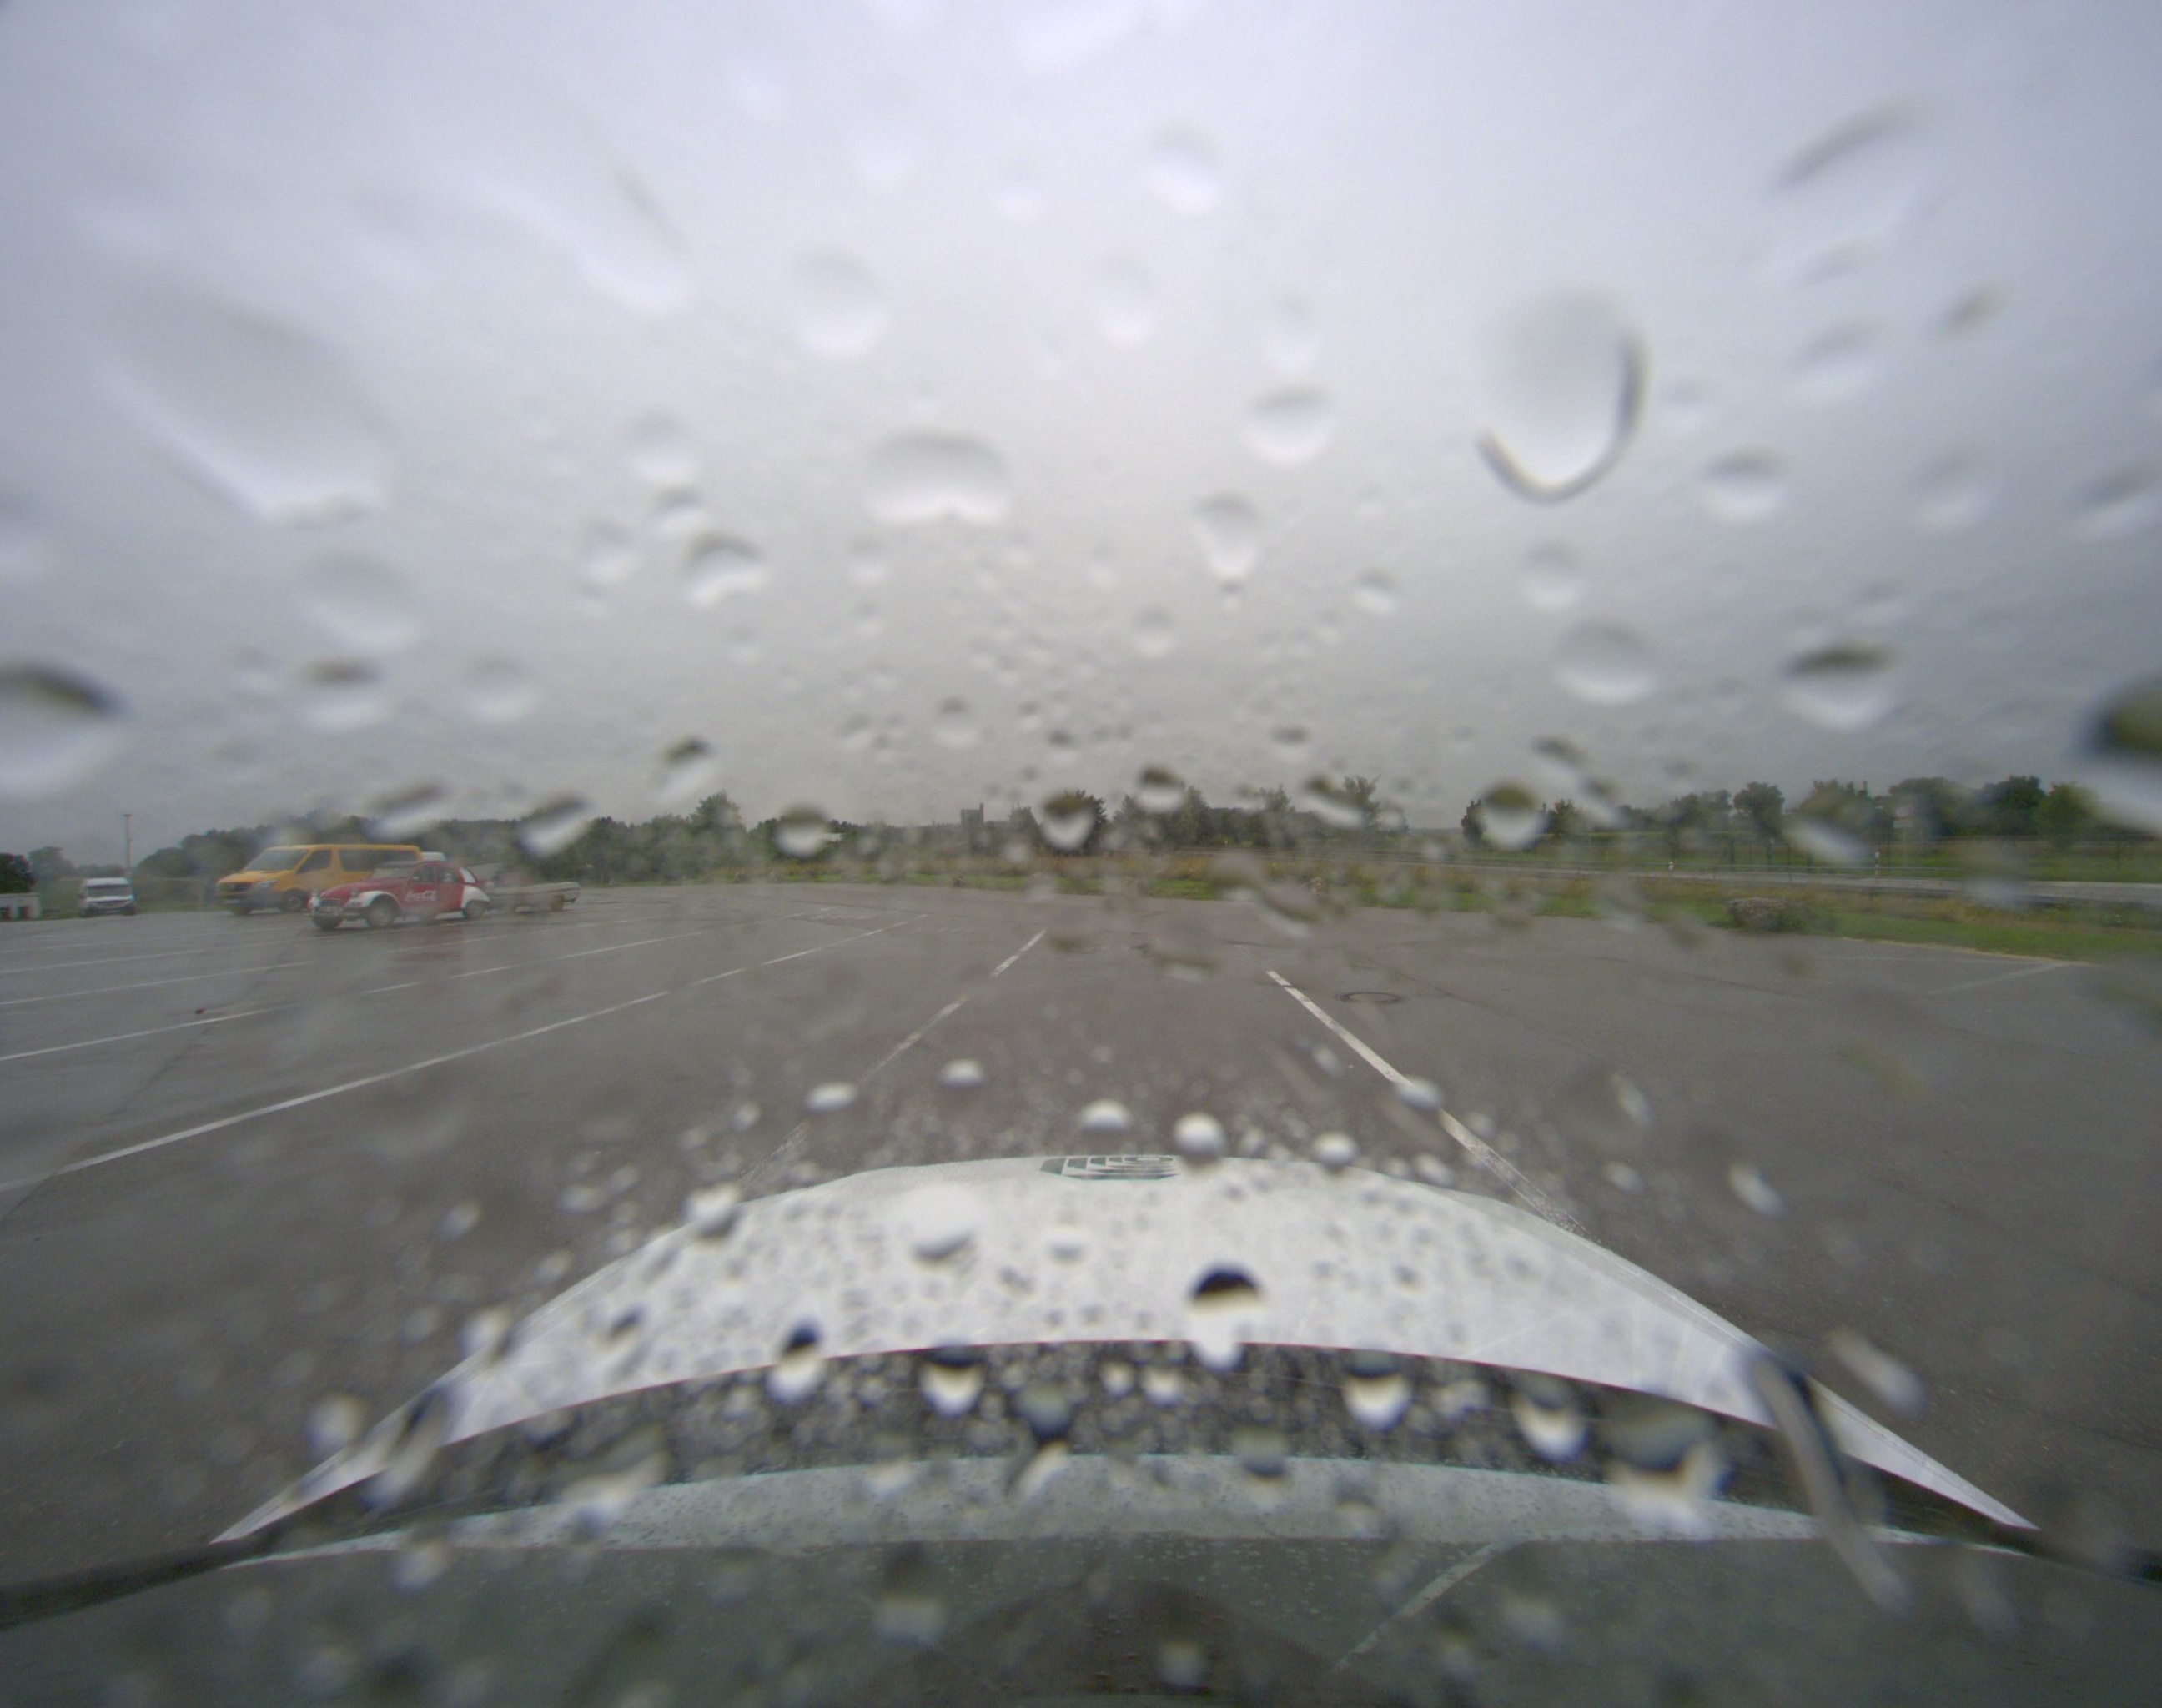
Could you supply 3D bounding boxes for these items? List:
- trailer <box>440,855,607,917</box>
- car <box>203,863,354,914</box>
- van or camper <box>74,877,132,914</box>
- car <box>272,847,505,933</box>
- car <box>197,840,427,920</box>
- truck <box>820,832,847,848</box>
[{"bbox_3d":[-15.806,0.841,23.380,1.686,1.532,4.007,-2,0,6],"label":"trailer"},{"bbox_3d":[-38.671,1.598,39.413,1.977,2.201,4.797,0,0,19],"label":"car"},{"bbox_3d":[-61.942,2.633,51.563,3.948,2.166,2.013,-2,-1,35],"label":"van or camper"},{"bbox_3d":[-16.220,0.766,19.391,1.813,1.777,4.007,-2,0,6],"label":"car"},{"bbox_3d":[-26.331,0.814,28.341,1.986,2.380,6.029,-4,0,2],"label":"car"},{"bbox_3d":[-54.931,-3.030,180.486,2.763,3.391,7.972,-1,0,-40],"label":"truck"}]
